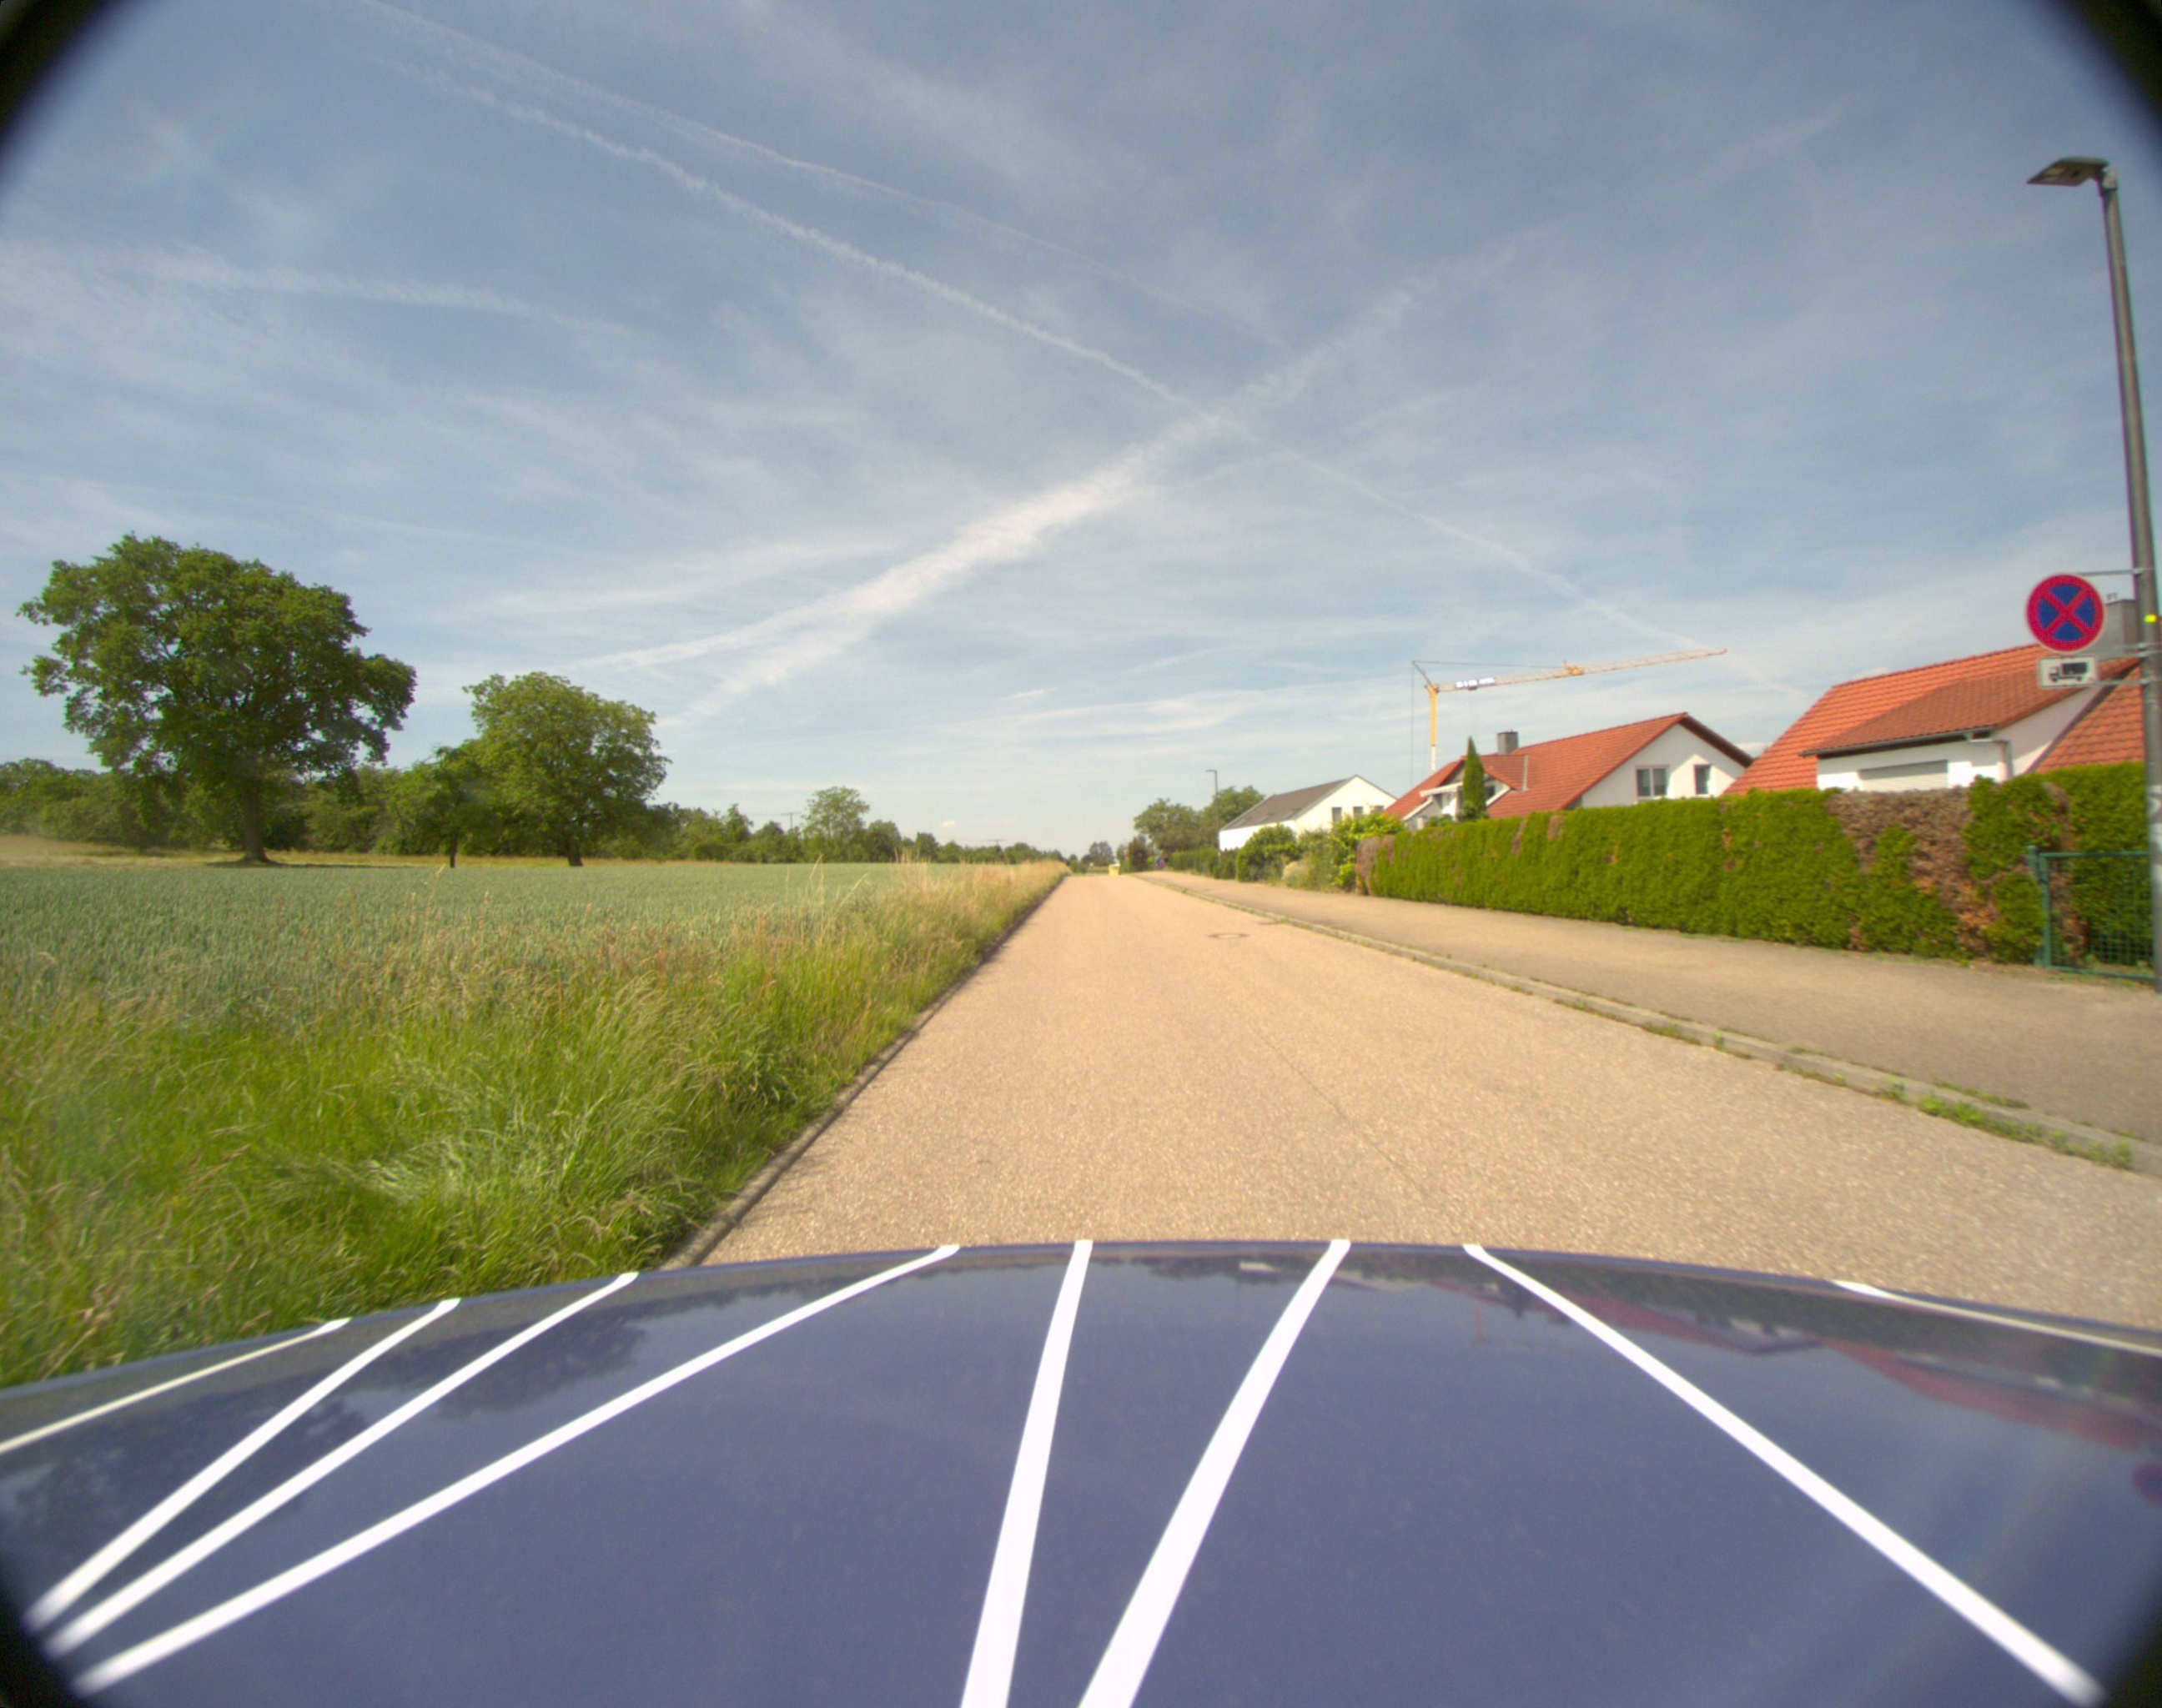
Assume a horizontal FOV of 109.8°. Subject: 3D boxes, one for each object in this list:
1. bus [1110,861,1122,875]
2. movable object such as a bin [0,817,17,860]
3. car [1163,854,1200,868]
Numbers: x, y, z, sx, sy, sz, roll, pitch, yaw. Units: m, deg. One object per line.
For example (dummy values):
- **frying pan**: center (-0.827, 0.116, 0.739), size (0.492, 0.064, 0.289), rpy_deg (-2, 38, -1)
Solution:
- **bus**: center (9.594, 3.877, 207.599), size (3.066, 3.557, 9.456), rpy_deg (-2, 0, 3)
- **movable object such as a bin**: center (-63.019, -0.975, 41.520), size (6.570, 2.356, 2.446), rpy_deg (2, 0, 3)
- **car**: center (11.171, 0.762, 84.682), size (3.885, 1.314, 1.801), rpy_deg (-3, 0, 5)
